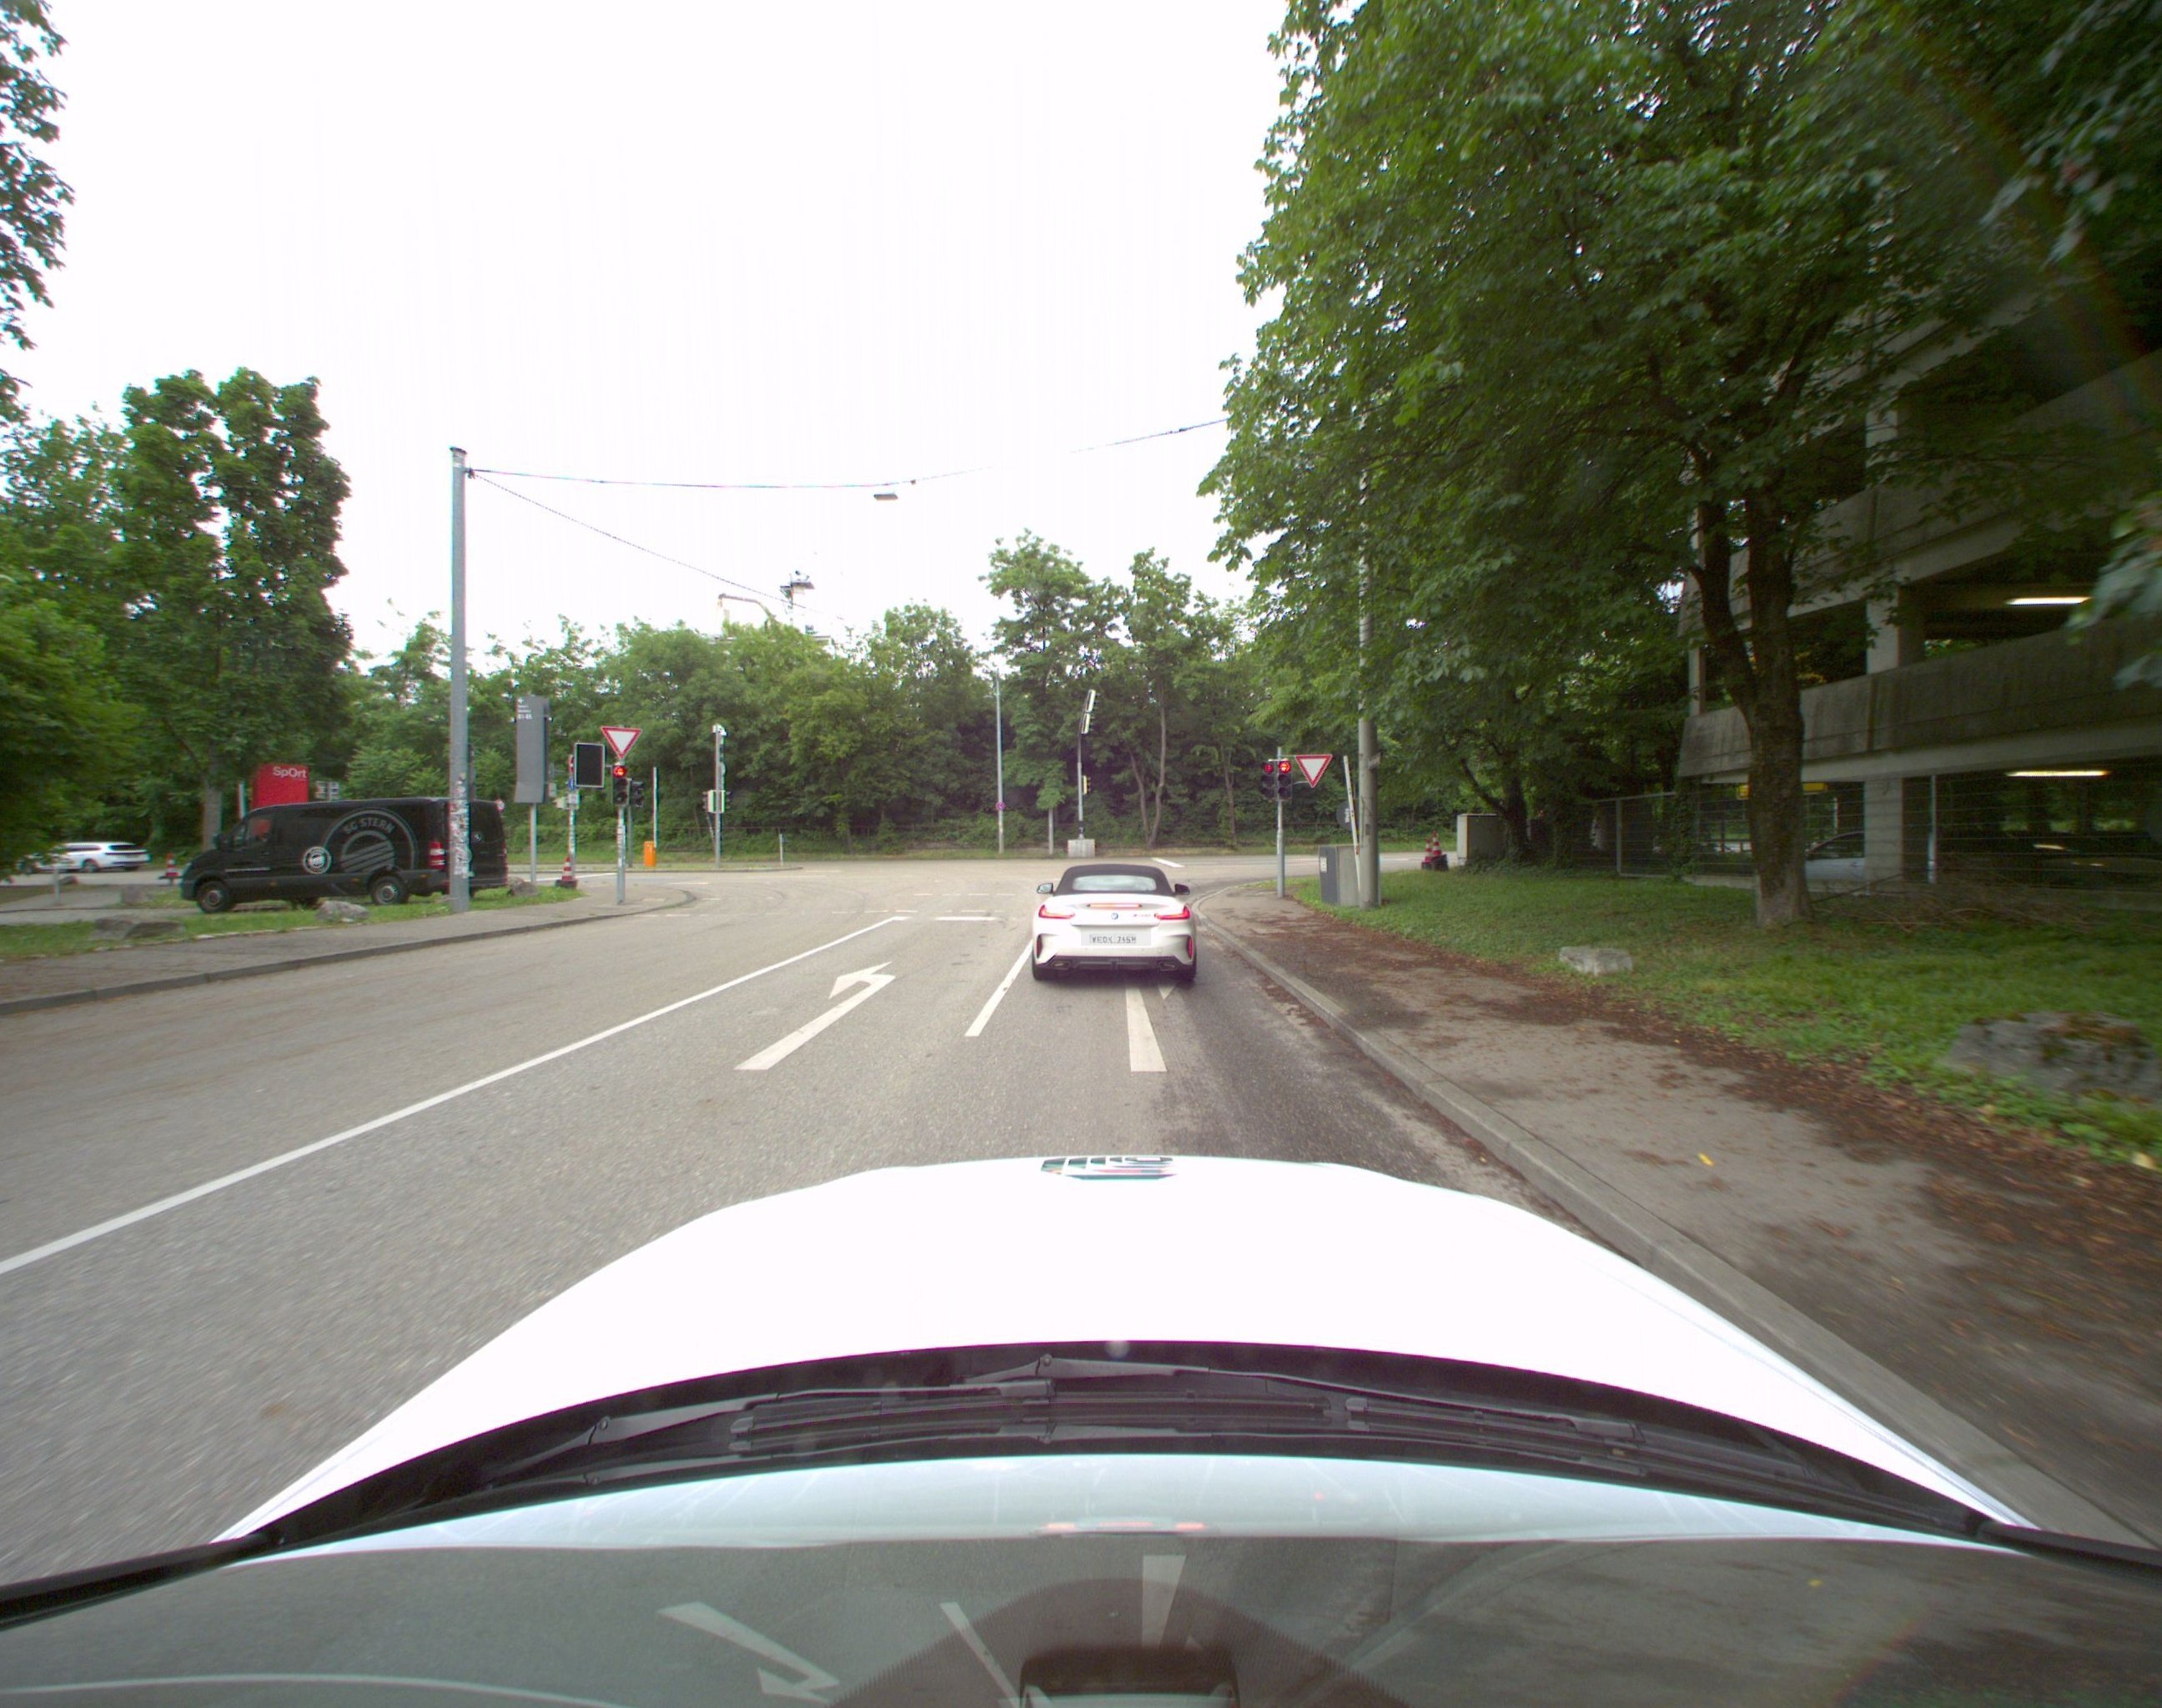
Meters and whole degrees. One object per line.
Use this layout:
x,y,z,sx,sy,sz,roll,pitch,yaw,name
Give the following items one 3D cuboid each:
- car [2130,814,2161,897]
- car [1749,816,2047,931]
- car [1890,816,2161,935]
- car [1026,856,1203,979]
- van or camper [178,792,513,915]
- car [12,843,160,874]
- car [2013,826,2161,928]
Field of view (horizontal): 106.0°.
21.177,0.011,13.691,1.986,1.552,4.001,0,-1,2,car
13.711,0.321,14.014,1.475,1.708,3.720,0,-1,2,car
16.100,0.348,13.573,1.574,1.708,3.770,0,-1,2,car
0.345,0.694,10.420,1.822,1.257,3.998,0,-1,0,car
-15.860,0.012,17.766,5.513,2.314,2.063,-2,-1,2,van or camper
-48.967,0.227,40.147,4.663,1.456,1.897,0,-1,-4,car
18.535,0.388,13.608,1.723,1.664,3.720,0,-1,2,car
